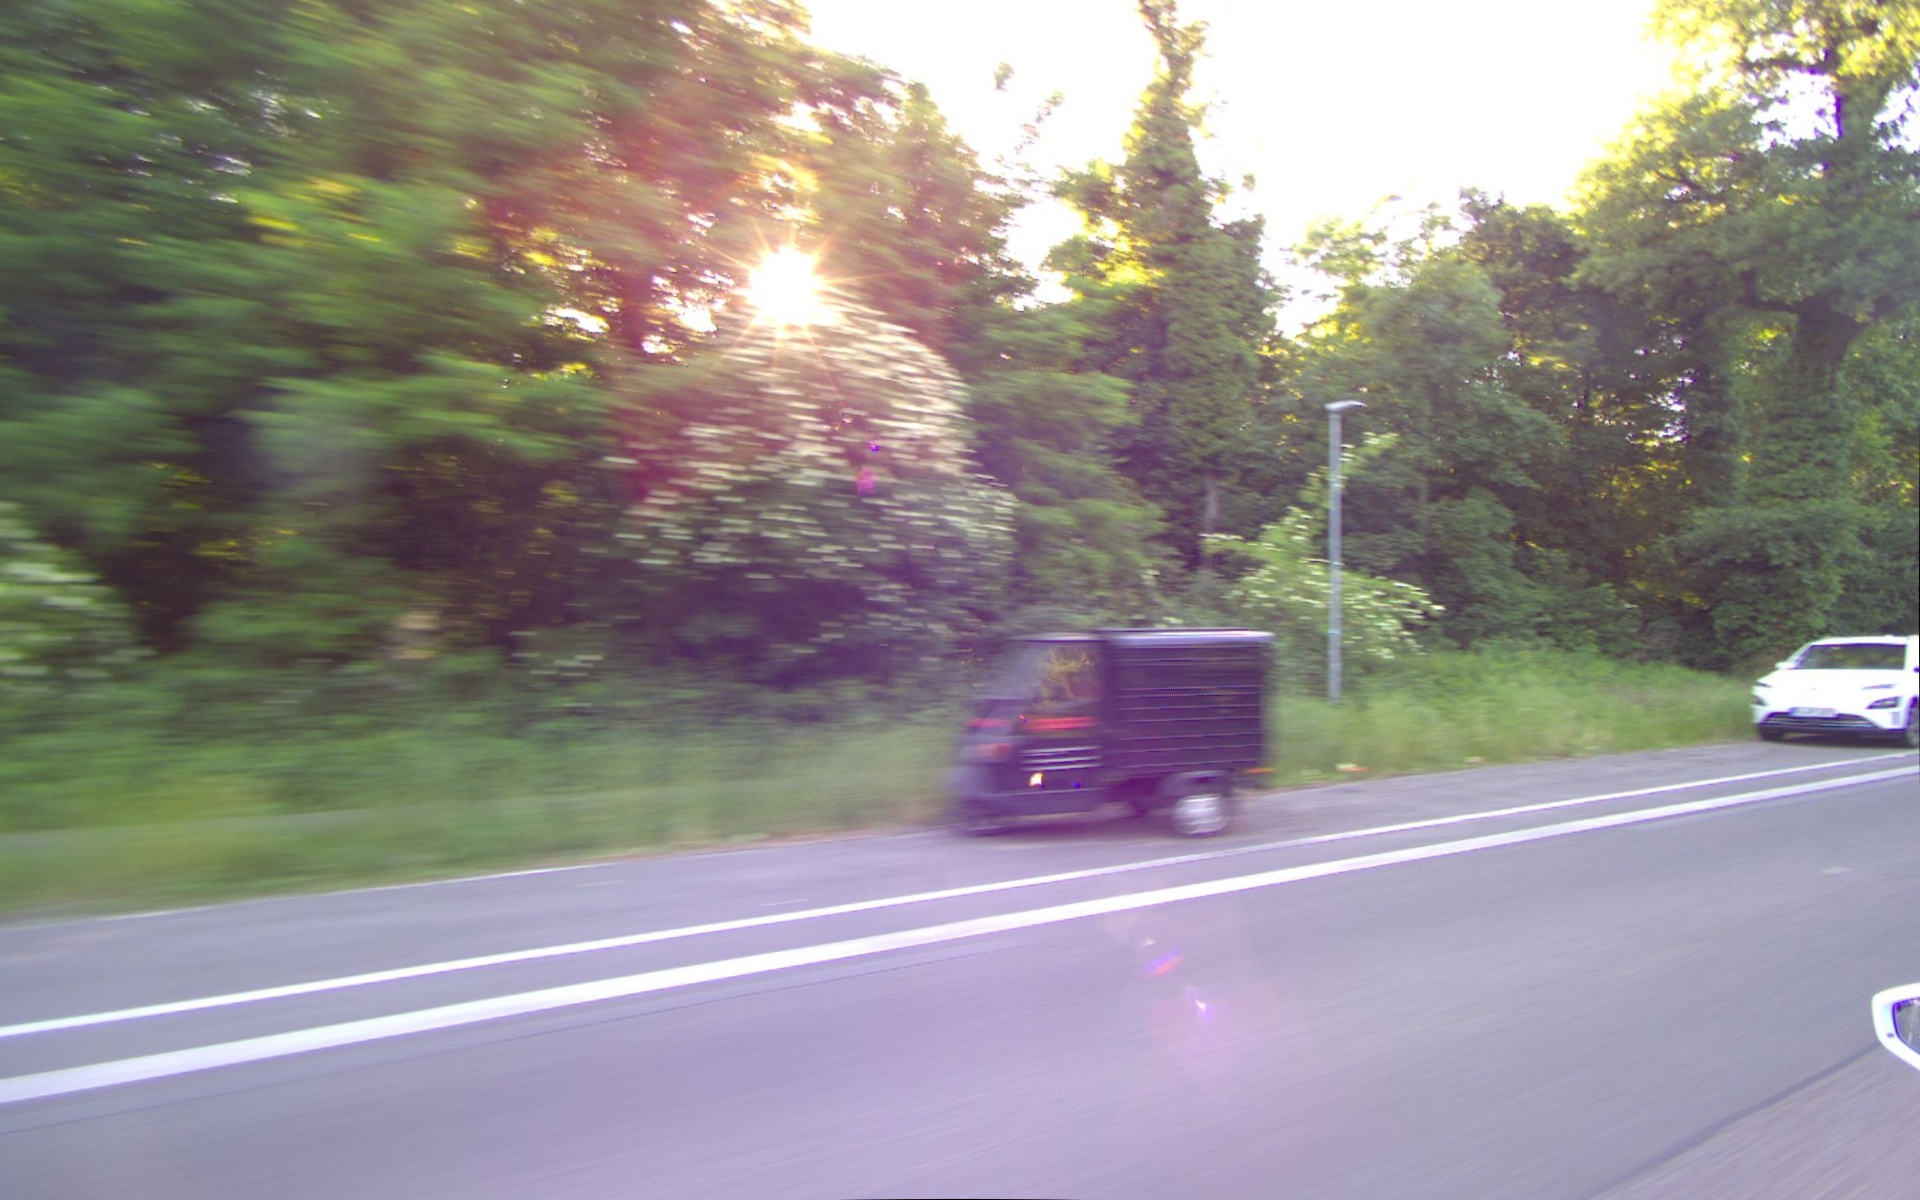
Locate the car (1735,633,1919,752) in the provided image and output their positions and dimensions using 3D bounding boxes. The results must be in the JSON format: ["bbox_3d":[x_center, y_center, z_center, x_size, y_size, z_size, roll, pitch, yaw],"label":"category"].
[{"bbox_3d":[13.841,1.327,15.365,4.161,1.592,1.805,1,-3,-32],"label":"car"}]

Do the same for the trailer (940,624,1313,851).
[{"bbox_3d":[1.251,1.012,8.030,2.626,1.595,1.398,1,-1,-10],"label":"trailer"}]
